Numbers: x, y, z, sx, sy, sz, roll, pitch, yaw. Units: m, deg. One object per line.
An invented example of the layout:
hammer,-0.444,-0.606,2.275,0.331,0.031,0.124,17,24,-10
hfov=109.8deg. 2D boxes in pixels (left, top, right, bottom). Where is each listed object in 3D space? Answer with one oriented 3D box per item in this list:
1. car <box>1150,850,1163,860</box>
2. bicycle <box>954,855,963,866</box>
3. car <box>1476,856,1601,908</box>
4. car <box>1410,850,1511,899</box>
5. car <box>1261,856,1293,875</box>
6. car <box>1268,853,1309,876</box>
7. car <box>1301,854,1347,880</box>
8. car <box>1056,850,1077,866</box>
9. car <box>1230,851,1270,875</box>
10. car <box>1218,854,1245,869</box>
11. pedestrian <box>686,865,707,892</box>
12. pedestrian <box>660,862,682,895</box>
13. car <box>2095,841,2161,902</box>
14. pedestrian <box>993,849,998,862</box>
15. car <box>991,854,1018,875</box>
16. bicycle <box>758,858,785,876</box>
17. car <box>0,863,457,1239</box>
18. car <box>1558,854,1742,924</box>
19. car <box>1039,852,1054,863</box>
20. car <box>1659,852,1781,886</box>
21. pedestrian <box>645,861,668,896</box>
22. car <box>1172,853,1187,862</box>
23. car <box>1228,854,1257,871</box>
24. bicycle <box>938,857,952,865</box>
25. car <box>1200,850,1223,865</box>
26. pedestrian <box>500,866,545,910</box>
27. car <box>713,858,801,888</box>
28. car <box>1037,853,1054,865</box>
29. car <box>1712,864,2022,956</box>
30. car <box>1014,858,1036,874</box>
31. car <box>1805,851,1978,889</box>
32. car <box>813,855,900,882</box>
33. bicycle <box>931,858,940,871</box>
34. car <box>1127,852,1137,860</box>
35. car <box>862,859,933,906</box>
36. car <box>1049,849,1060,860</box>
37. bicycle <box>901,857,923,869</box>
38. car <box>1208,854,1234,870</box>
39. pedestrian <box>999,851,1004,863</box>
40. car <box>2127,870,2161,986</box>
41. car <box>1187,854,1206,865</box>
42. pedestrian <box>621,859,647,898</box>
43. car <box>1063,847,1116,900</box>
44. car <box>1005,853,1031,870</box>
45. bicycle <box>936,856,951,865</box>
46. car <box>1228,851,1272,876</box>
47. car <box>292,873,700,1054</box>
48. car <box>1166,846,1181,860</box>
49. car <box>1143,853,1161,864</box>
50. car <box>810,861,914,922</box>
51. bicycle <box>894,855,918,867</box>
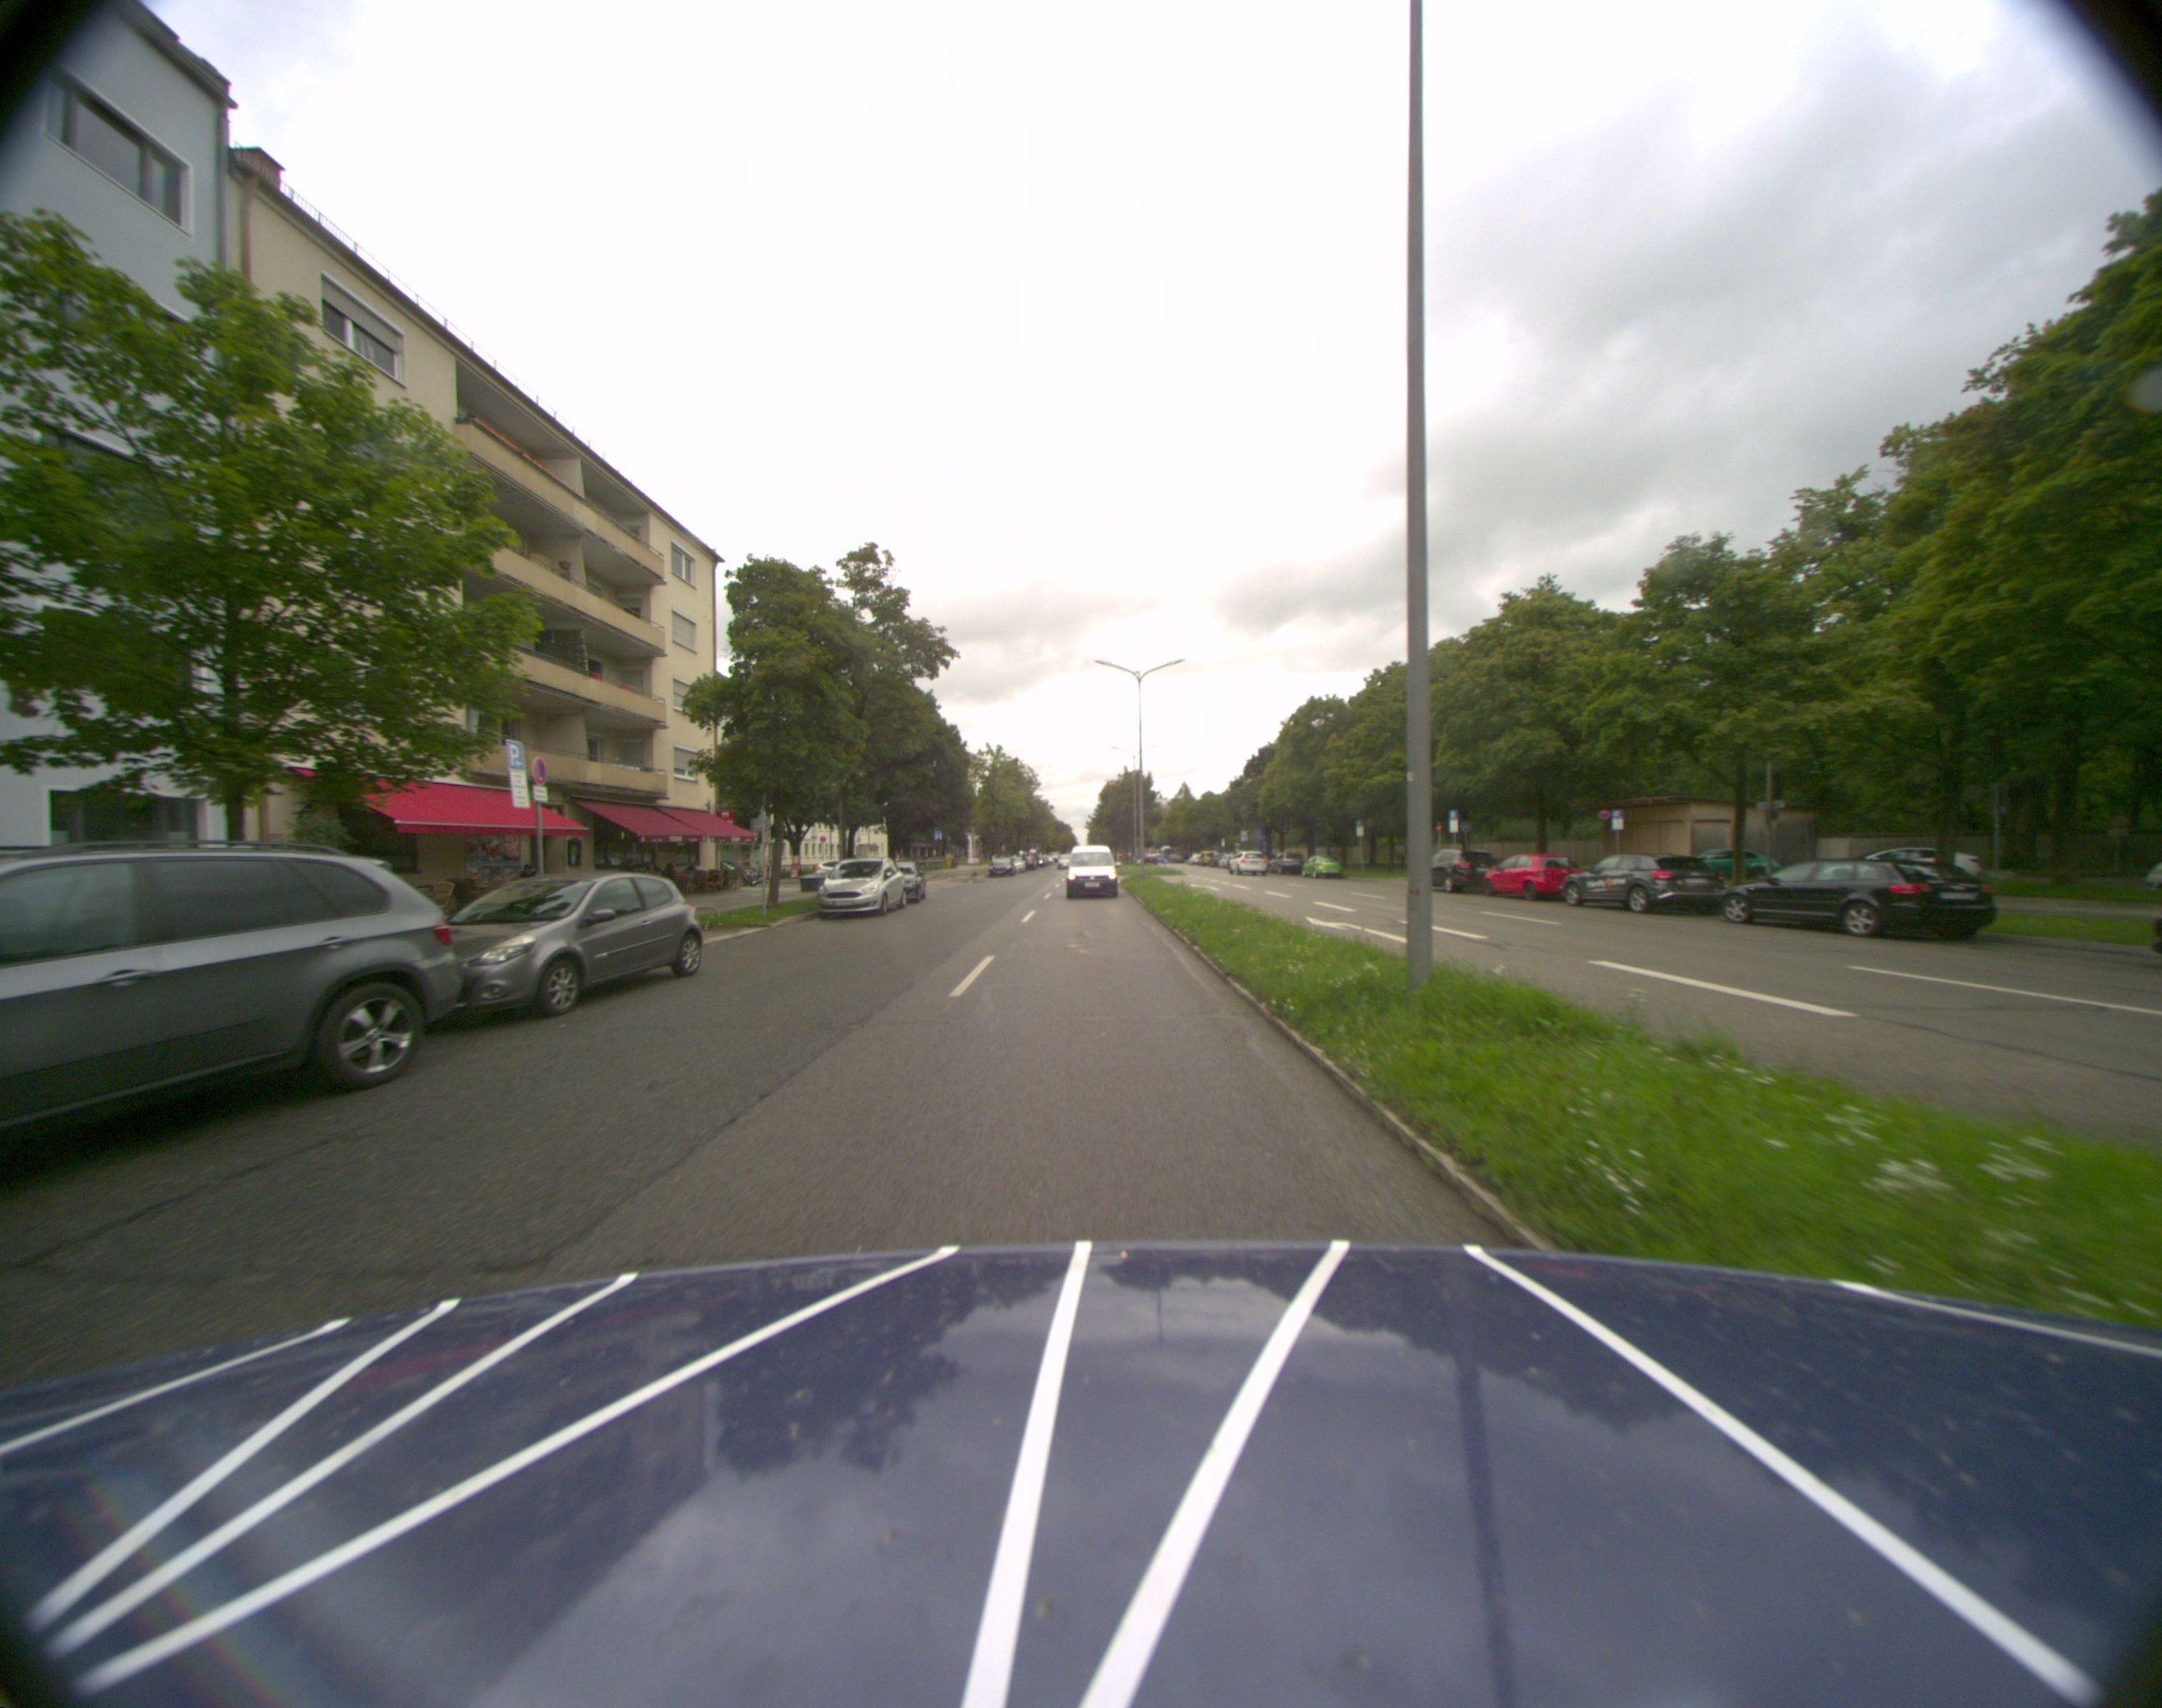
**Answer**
car,12.011,0.187,120.842,1.826,1.544,3.721,-1,0,2
bicycle,-12.995,0.682,80.651,0.545,1.182,2.076,-1,0,1
car,14.966,0.849,25.123,1.826,1.471,3.808,-1,1,-1
car,14.737,0.727,29.785,1.826,1.690,4.238,-1,1,-1
car,15.697,0.925,61.091,1.654,1.414,3.687,2,0,1
car,15.191,0.762,55.817,1.826,1.621,4.456,0,0,0
car,15.088,0.771,47.317,1.644,1.490,4.000,1,0,2
car,-1.498,0.377,79.743,1.984,1.591,4.402,1,0,1
car,11.602,0.587,52.441,1.855,1.591,4.402,1,0,1
car,15.406,0.702,77.858,1.826,1.461,4.300,1,0,-2
pedestrian,-15.390,0.989,30.418,0.539,1.048,0.487,-1,1,1
pedestrian,-15.574,0.933,28.857,0.539,1.207,0.487,-1,1,1
car,27.698,0.398,18.305,3.998,1.434,1.999,-1,0,-2
pedestrian,-11.722,0.226,103.767,0.560,1.745,0.656,-1,1,-19
car,-5.727,0.756,57.097,1.648,1.468,3.956,-1,0,-1
bicycle,-20.643,0.885,50.740,1.473,1.149,0.699,-1,1,-1
car,-6.040,0.969,3.856,1.833,1.736,4.509,-1,0,3
car,14.611,0.831,19.856,1.826,1.590,4.113,0,1,2
car,-4.943,0.442,108.633,1.827,1.460,4.300,-1,0,1
car,27.851,0.634,33.292,3.848,1.401,1.863,-1,1,31
pedestrian,-15.561,0.877,27.869,0.539,1.261,0.487,-1,1,0
car,15.821,0.561,122.070,1.717,1.401,4.041,1,0,-2
car,15.332,0.787,72.459,1.826,1.438,3.787,2,0,-2
bicycle,-16.093,0.825,90.126,1.599,0.910,0.498,0,1,-4
car,15.521,0.401,90.515,1.862,1.761,4.533,1,0,-2
pedestrian,-15.216,0.908,20.714,0.745,1.156,0.646,1,1,0
car,-17.369,1.017,40.853,3.935,1.511,1.730,-1,1,-1
car,-4.366,0.615,94.193,1.827,1.371,4.300,-1,0,-1
car,14.541,0.941,14.454,1.825,1.401,4.000,1,0,3
car,-5.691,1.190,77.804,1.826,1.502,4.157,-1,0,0
car,32.372,0.624,30.557,4.456,1.401,1.863,0,1,34
car,-12.519,0.803,42.483,4.214,1.434,2.002,-1,0,15
bicycle,-12.901,0.922,67.351,0.470,1.049,1.767,2,1,-4
car,10.181,0.415,151.507,1.826,1.580,4.501,-1,0,1
car,-6.449,0.963,27.097,1.834,1.464,3.886,-1,0,-4
car,-5.017,0.065,146.198,1.827,1.939,4.300,-1,0,1
bicycle,-16.082,0.874,72.331,2.032,1.061,0.663,-1,1,-4
car,15.521,0.863,84.169,2.007,1.607,4.041,1,0,-2
pedestrian,-10.919,0.374,103.959,0.560,1.595,0.519,-1,1,-19
car,14.506,0.948,7.837,1.826,1.439,3.999,1,0,-2
car,15.281,0.743,100.797,1.717,1.434,4.041,1,0,-2
pedestrian,-15.669,0.859,26.651,0.539,1.331,0.552,-1,1,0
car,0.309,0.658,28.467,1.772,1.742,4.545,-3,0,0
car,-5.553,0.656,67.861,1.826,1.428,4.287,-3,0,1
bicycle,-15.914,0.749,87.839,1.599,0.910,0.498,-1,1,-4
car,11.612,0.598,52.437,2.030,1.610,4.683,0,0,1
car,-6.299,1.052,8.851,1.834,1.513,3.770,-1,0,-1
car,16.287,-0.182,134.191,1.999,2.576,4.499,1,0,-2
car,9.410,0.610,101.074,1.820,1.440,4.781,0,0,0
car,-6.186,0.990,21.999,1.834,1.513,4.522,-1,0,-2
bicycle,-15.932,0.645,69.271,2.032,1.061,0.663,-1,1,-4
